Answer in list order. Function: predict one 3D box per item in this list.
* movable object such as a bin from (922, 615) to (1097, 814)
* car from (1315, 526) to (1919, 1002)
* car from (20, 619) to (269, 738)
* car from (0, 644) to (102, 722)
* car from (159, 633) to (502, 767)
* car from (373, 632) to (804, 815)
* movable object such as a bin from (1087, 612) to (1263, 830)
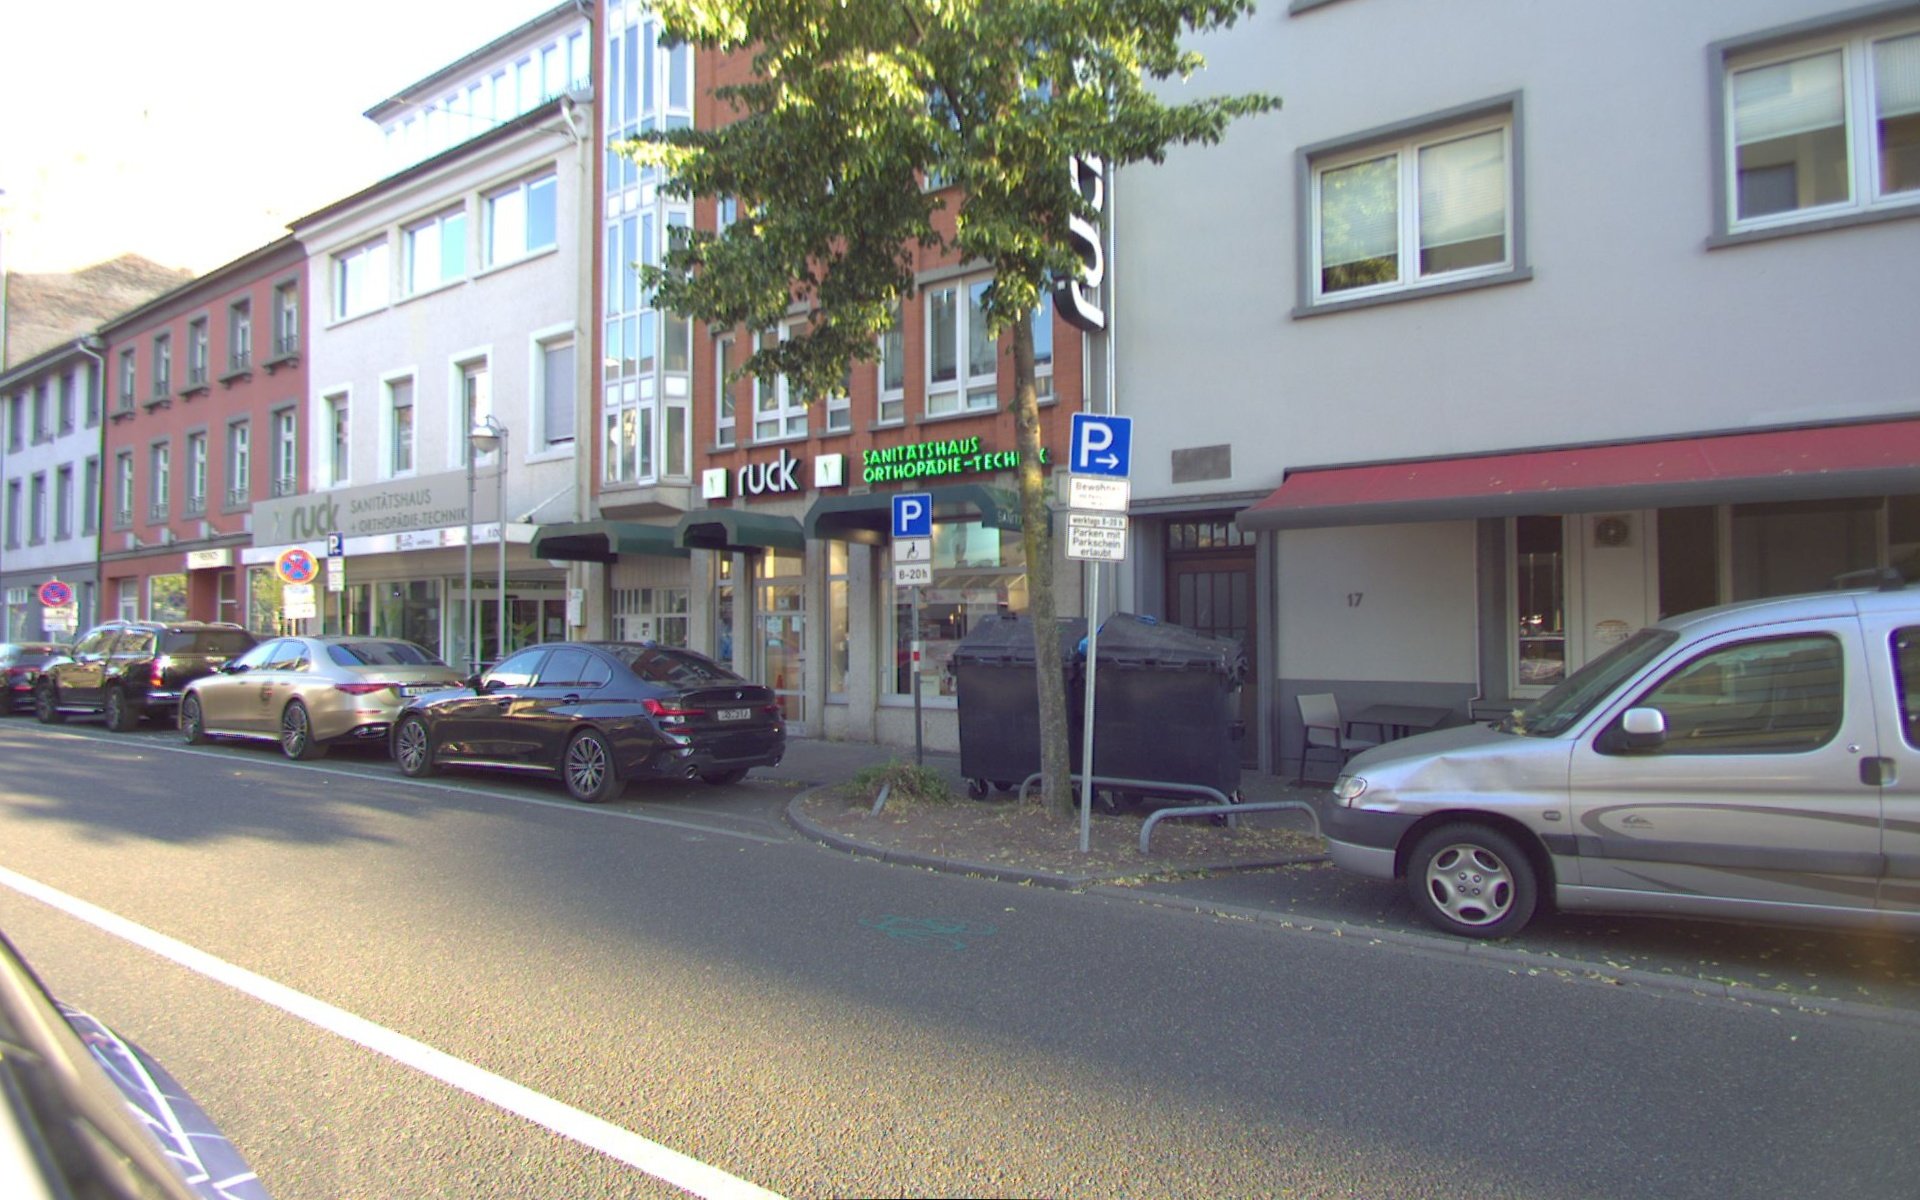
[{"bbox_3d":[0.443,0.961,9.042,1.331,1.632,0.775,-1,-1,30],"label":"movable object such as a bin"},{"bbox_3d":[3.993,0.702,4.945,4.038,1.902,1.657,-1,-4,31],"label":"car"},{"bbox_3d":[-14.065,1.297,17.378,4.921,1.793,1.708,-2,-4,31],"label":"car"},{"bbox_3d":[-19.342,1.647,20.609,4.001,1.448,1.688,-2,-5,32],"label":"car"},{"bbox_3d":[-8.492,1.233,13.499,5.094,1.484,1.977,-2,-4,34],"label":"car"},{"bbox_3d":[-3.850,1.110,10.218,4.528,1.484,1.706,-2,-5,33],"label":"car"},{"bbox_3d":[1.764,0.930,8.289,1.203,1.632,0.775,-1,0,30],"label":"movable object such as a bin"}]
